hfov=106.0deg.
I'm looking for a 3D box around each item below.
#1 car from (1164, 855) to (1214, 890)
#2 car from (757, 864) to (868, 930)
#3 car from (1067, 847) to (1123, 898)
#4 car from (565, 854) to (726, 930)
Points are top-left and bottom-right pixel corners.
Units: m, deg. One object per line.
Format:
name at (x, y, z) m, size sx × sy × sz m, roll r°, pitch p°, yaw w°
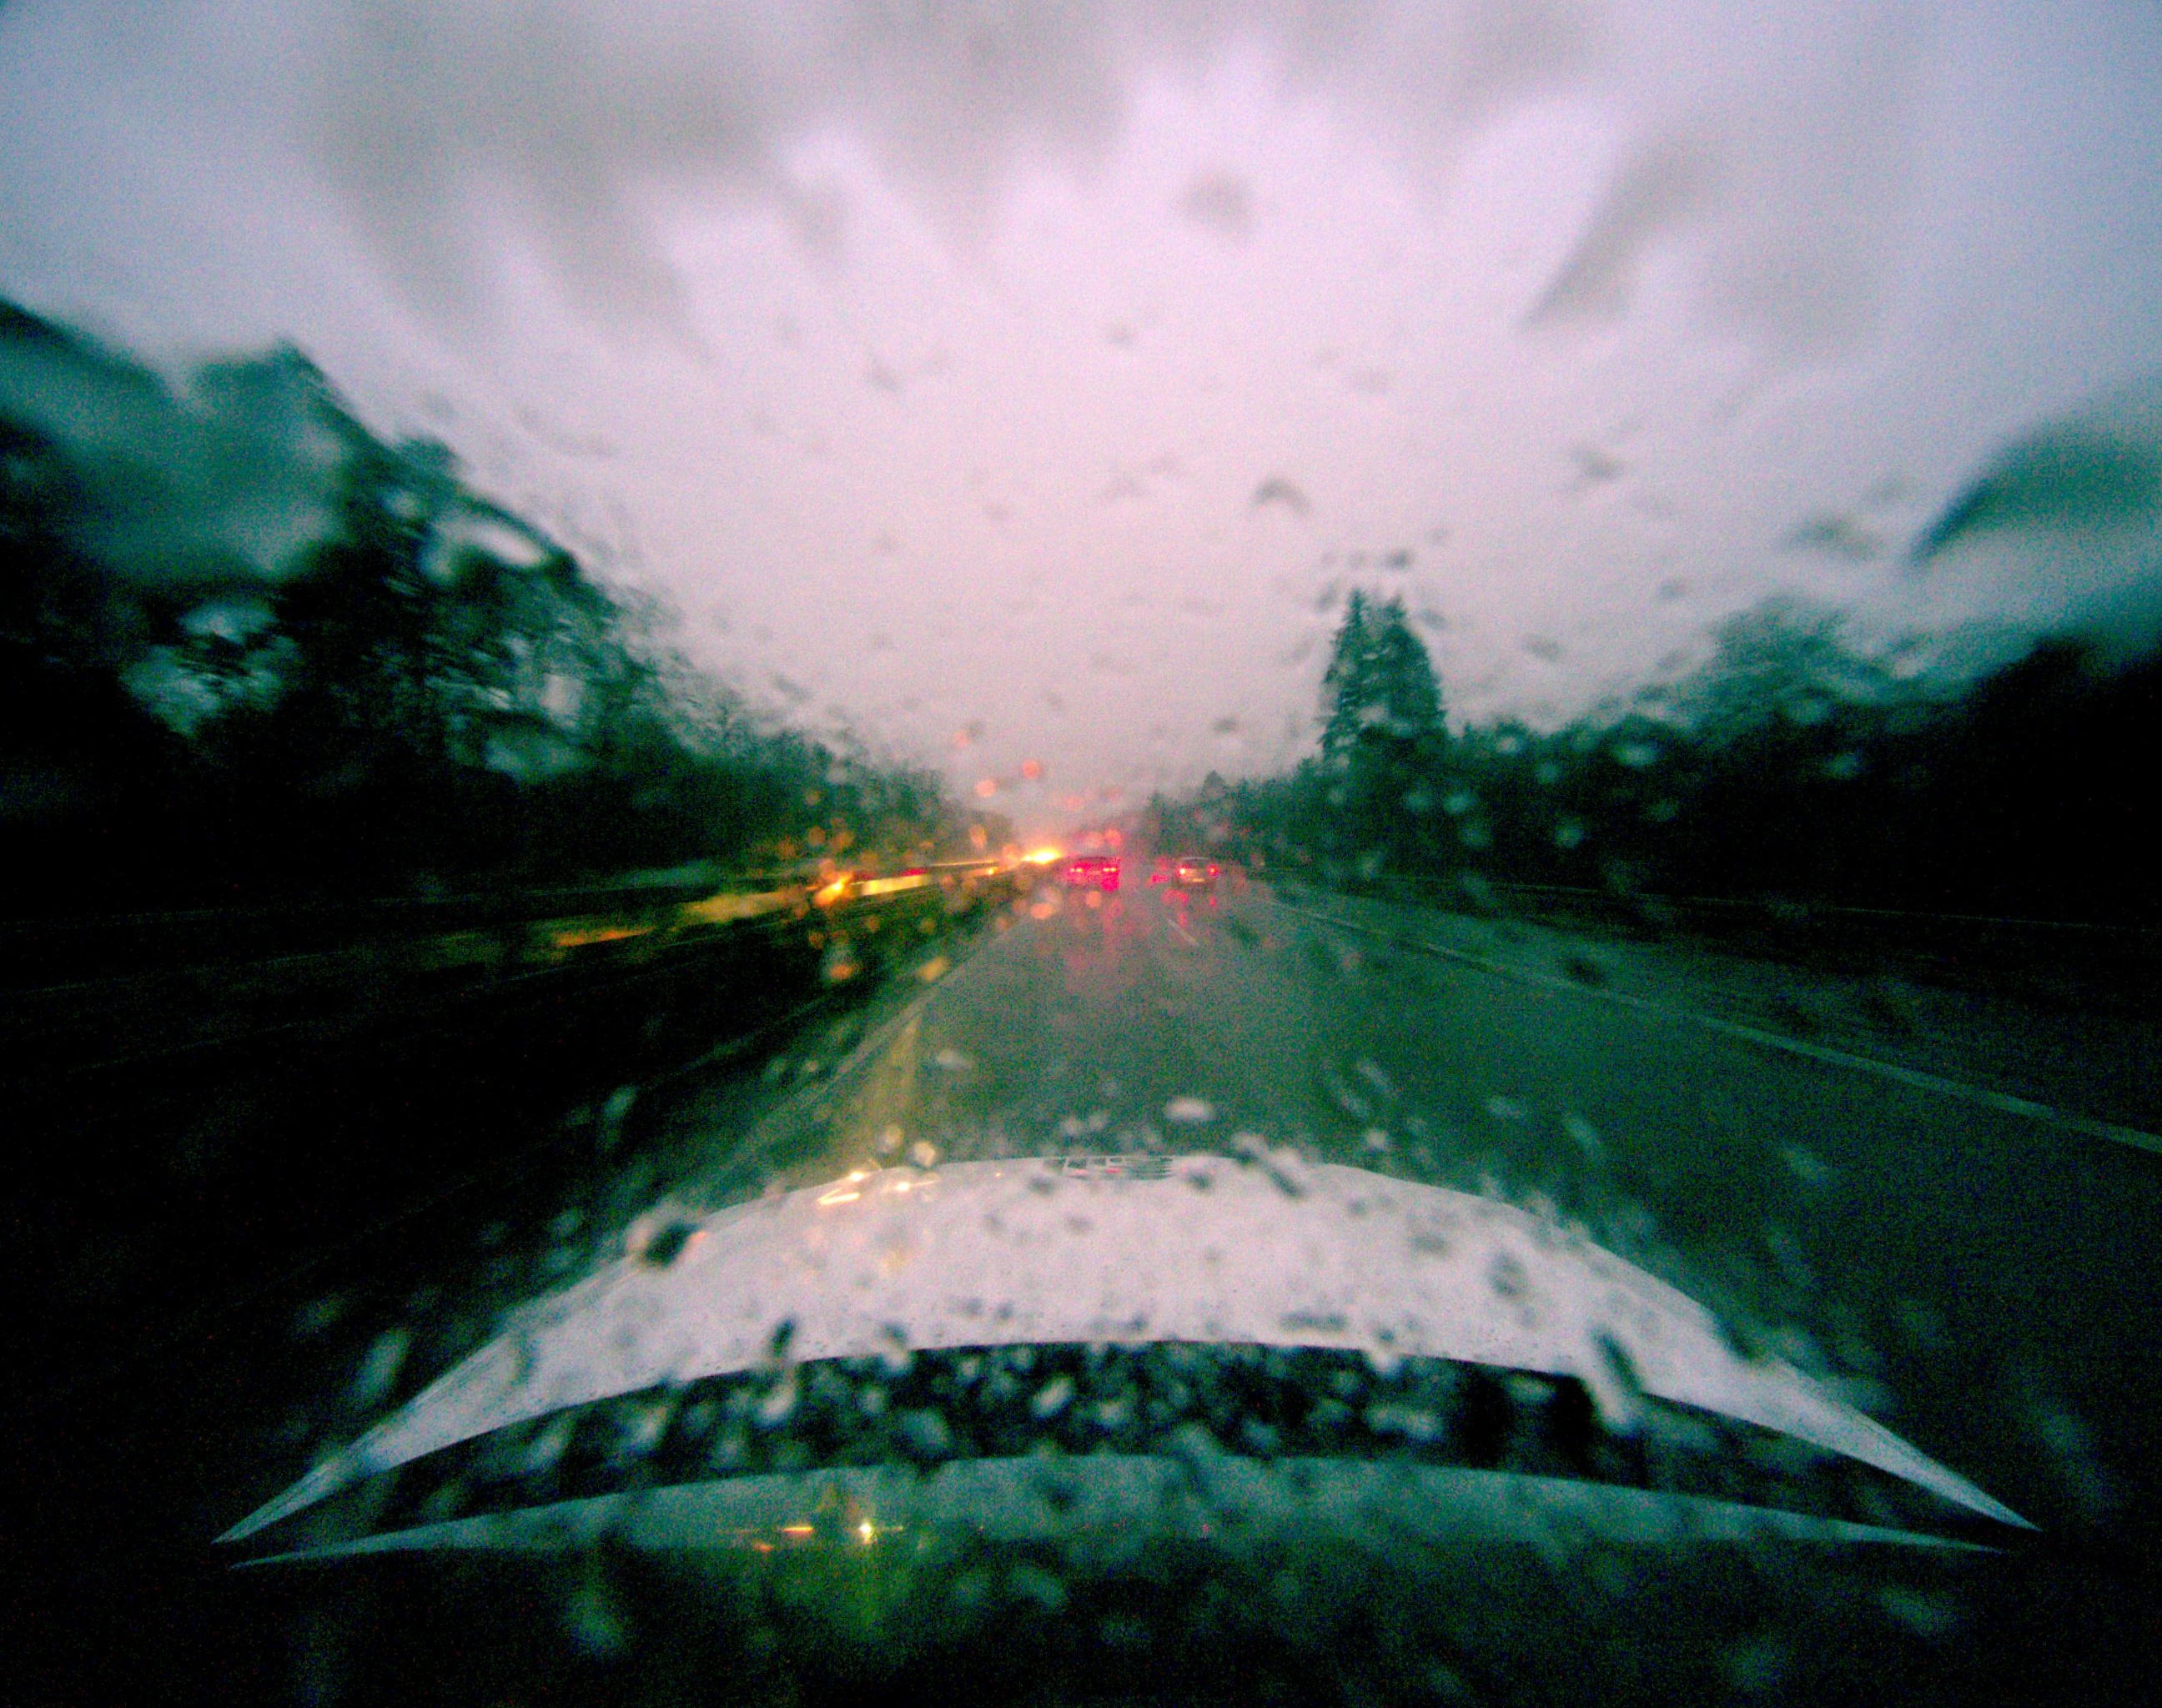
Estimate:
car at (4.763, 0.776, 36.193) m, size 1.774 × 1.437 × 3.537 m, roll -1°, pitch 0°, yaw 0°
car at (-7.276, 1.114, 22.445) m, size 1.715 × 1.607 × 3.516 m, roll -1°, pitch 0°, yaw 3°
car at (0.519, 0.657, 31.050) m, size 1.979 × 1.767 × 4.173 m, roll -1°, pitch 0°, yaw 0°
car at (-11.382, 0.907, 21.639) m, size 1.975 × 1.807 × 4.002 m, roll -1°, pitch 0°, yaw 2°
